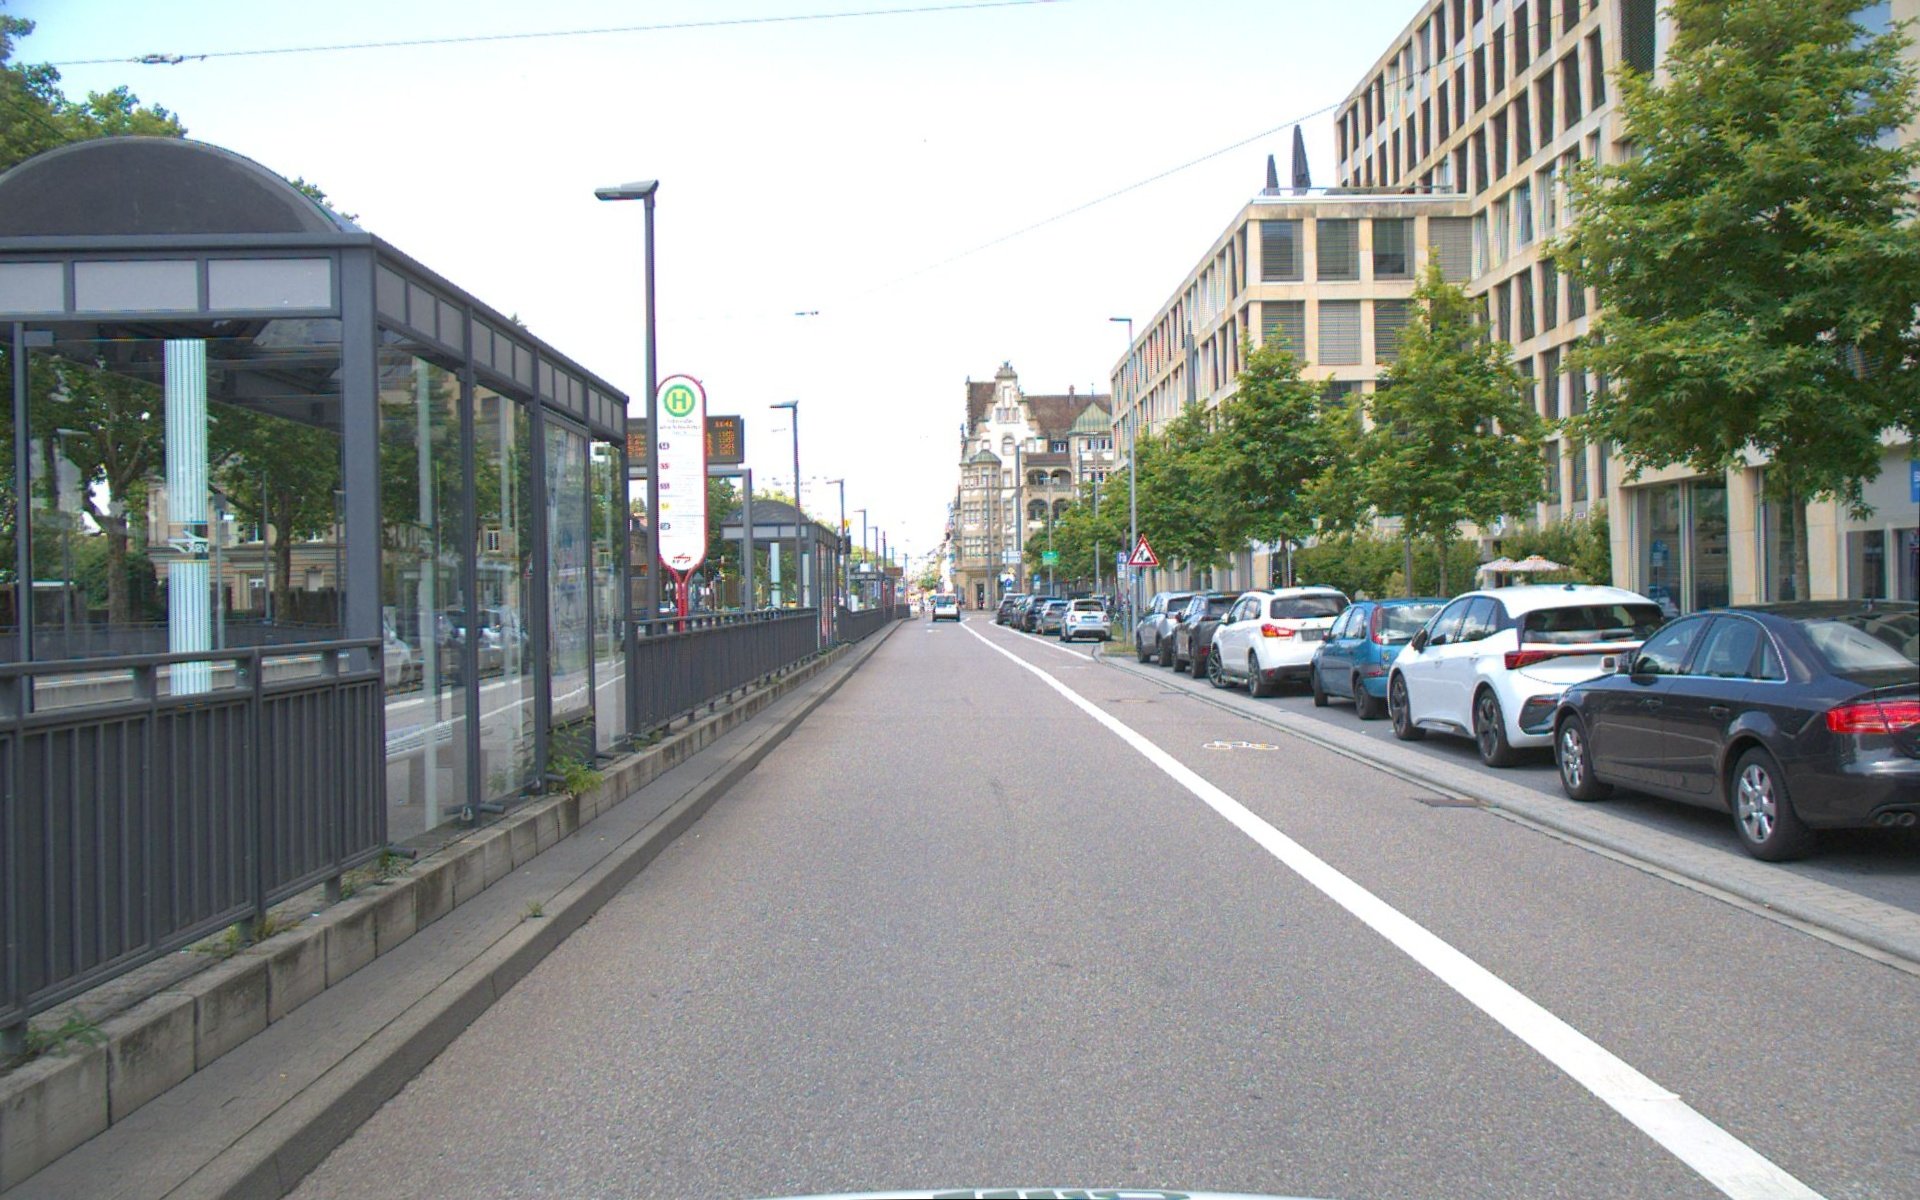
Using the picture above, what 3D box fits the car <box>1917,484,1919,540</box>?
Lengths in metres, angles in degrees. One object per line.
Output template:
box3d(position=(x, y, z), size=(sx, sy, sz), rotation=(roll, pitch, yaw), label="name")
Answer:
box3d(position=(5.451, 0.414, 5.277), size=(1.844, 1.973, 4.842), rotation=(-3, 0, -1), label="car")

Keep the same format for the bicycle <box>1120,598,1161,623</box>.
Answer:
box3d(position=(7.837, 0.447, 71.896), size=(1.717, 1.003, 0.325), rotation=(-2, 0, -2), label="bicycle")

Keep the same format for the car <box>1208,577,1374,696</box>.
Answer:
box3d(position=(5.111, 0.519, 26.039), size=(1.651, 1.634, 4.151), rotation=(-3, 0, -1), label="car")

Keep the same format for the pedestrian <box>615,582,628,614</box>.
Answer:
box3d(position=(-18.145, -0.122, 88.664), size=(0.490, 1.712, 0.643), rotation=(-2, 0, -1), label="pedestrian")

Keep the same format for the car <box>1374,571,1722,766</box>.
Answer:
box3d(position=(5.473, 0.564, 15.993), size=(1.756, 1.556, 4.158), rotation=(-3, 0, -1), label="car")

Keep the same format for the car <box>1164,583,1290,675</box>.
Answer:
box3d(position=(5.046, 0.506, 31.736), size=(1.651, 1.575, 3.925), rotation=(-3, 0, -1), label="car")

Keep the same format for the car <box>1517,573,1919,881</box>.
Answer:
box3d(position=(5.359, 0.617, 10.706), size=(1.843, 1.513, 4.562), rotation=(-2, 0, -1), label="car")

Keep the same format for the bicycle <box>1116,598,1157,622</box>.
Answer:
box3d(position=(7.737, 0.449, 72.595), size=(1.717, 1.003, 0.325), rotation=(-2, 0, -2), label="bicycle")

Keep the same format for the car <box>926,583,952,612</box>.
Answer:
box3d(position=(-1.555, -0.172, 121.500), size=(1.831, 2.056, 3.999), rotation=(0, 0, -2), label="car")

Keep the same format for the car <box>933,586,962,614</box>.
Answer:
box3d(position=(-0.842, 0.002, 108.897), size=(1.831, 1.777, 3.999), rotation=(0, 0, -2), label="car")

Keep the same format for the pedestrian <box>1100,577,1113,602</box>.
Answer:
box3d(position=(10.008, -0.699, 112.882), size=(0.745, 1.699, 0.659), rotation=(-1, 0, -2), label="pedestrian")

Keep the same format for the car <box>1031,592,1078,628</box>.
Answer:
box3d(position=(3.983, 0.396, 70.020), size=(1.559, 1.459, 4.105), rotation=(1, 0, -3), label="car")

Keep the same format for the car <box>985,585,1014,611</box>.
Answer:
box3d(position=(2.289, -0.132, 96.851), size=(1.414, 1.496, 4.090), rotation=(1, 0, -3), label="car")

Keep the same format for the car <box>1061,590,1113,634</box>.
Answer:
box3d(position=(4.501, 0.405, 58.946), size=(1.558, 1.486, 3.613), rotation=(0, 1, 0), label="car")

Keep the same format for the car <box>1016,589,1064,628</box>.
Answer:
box3d(position=(3.598, 0.370, 75.203), size=(1.703, 1.698, 4.838), rotation=(1, 0, -3), label="car")

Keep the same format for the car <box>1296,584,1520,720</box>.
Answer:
box3d(position=(5.558, 0.583, 21.010), size=(1.651, 1.483, 3.949), rotation=(-3, 0, -1), label="car")

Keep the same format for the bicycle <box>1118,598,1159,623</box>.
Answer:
box3d(position=(7.794, 0.448, 72.237), size=(1.717, 1.003, 0.325), rotation=(-2, 0, -2), label="bicycle")

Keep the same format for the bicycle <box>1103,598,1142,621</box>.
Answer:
box3d(position=(7.726, 0.443, 78.576), size=(1.786, 1.048, 0.584), rotation=(-1, 0, 2), label="bicycle")

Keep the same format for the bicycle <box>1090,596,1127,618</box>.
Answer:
box3d(position=(7.546, 0.357, 84.266), size=(1.802, 1.048, 0.339), rotation=(-3, 0, -3), label="bicycle")

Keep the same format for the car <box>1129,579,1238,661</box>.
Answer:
box3d(position=(4.984, 0.418, 37.387), size=(1.652, 1.662, 3.988), rotation=(-4, 0, -3), label="car")
